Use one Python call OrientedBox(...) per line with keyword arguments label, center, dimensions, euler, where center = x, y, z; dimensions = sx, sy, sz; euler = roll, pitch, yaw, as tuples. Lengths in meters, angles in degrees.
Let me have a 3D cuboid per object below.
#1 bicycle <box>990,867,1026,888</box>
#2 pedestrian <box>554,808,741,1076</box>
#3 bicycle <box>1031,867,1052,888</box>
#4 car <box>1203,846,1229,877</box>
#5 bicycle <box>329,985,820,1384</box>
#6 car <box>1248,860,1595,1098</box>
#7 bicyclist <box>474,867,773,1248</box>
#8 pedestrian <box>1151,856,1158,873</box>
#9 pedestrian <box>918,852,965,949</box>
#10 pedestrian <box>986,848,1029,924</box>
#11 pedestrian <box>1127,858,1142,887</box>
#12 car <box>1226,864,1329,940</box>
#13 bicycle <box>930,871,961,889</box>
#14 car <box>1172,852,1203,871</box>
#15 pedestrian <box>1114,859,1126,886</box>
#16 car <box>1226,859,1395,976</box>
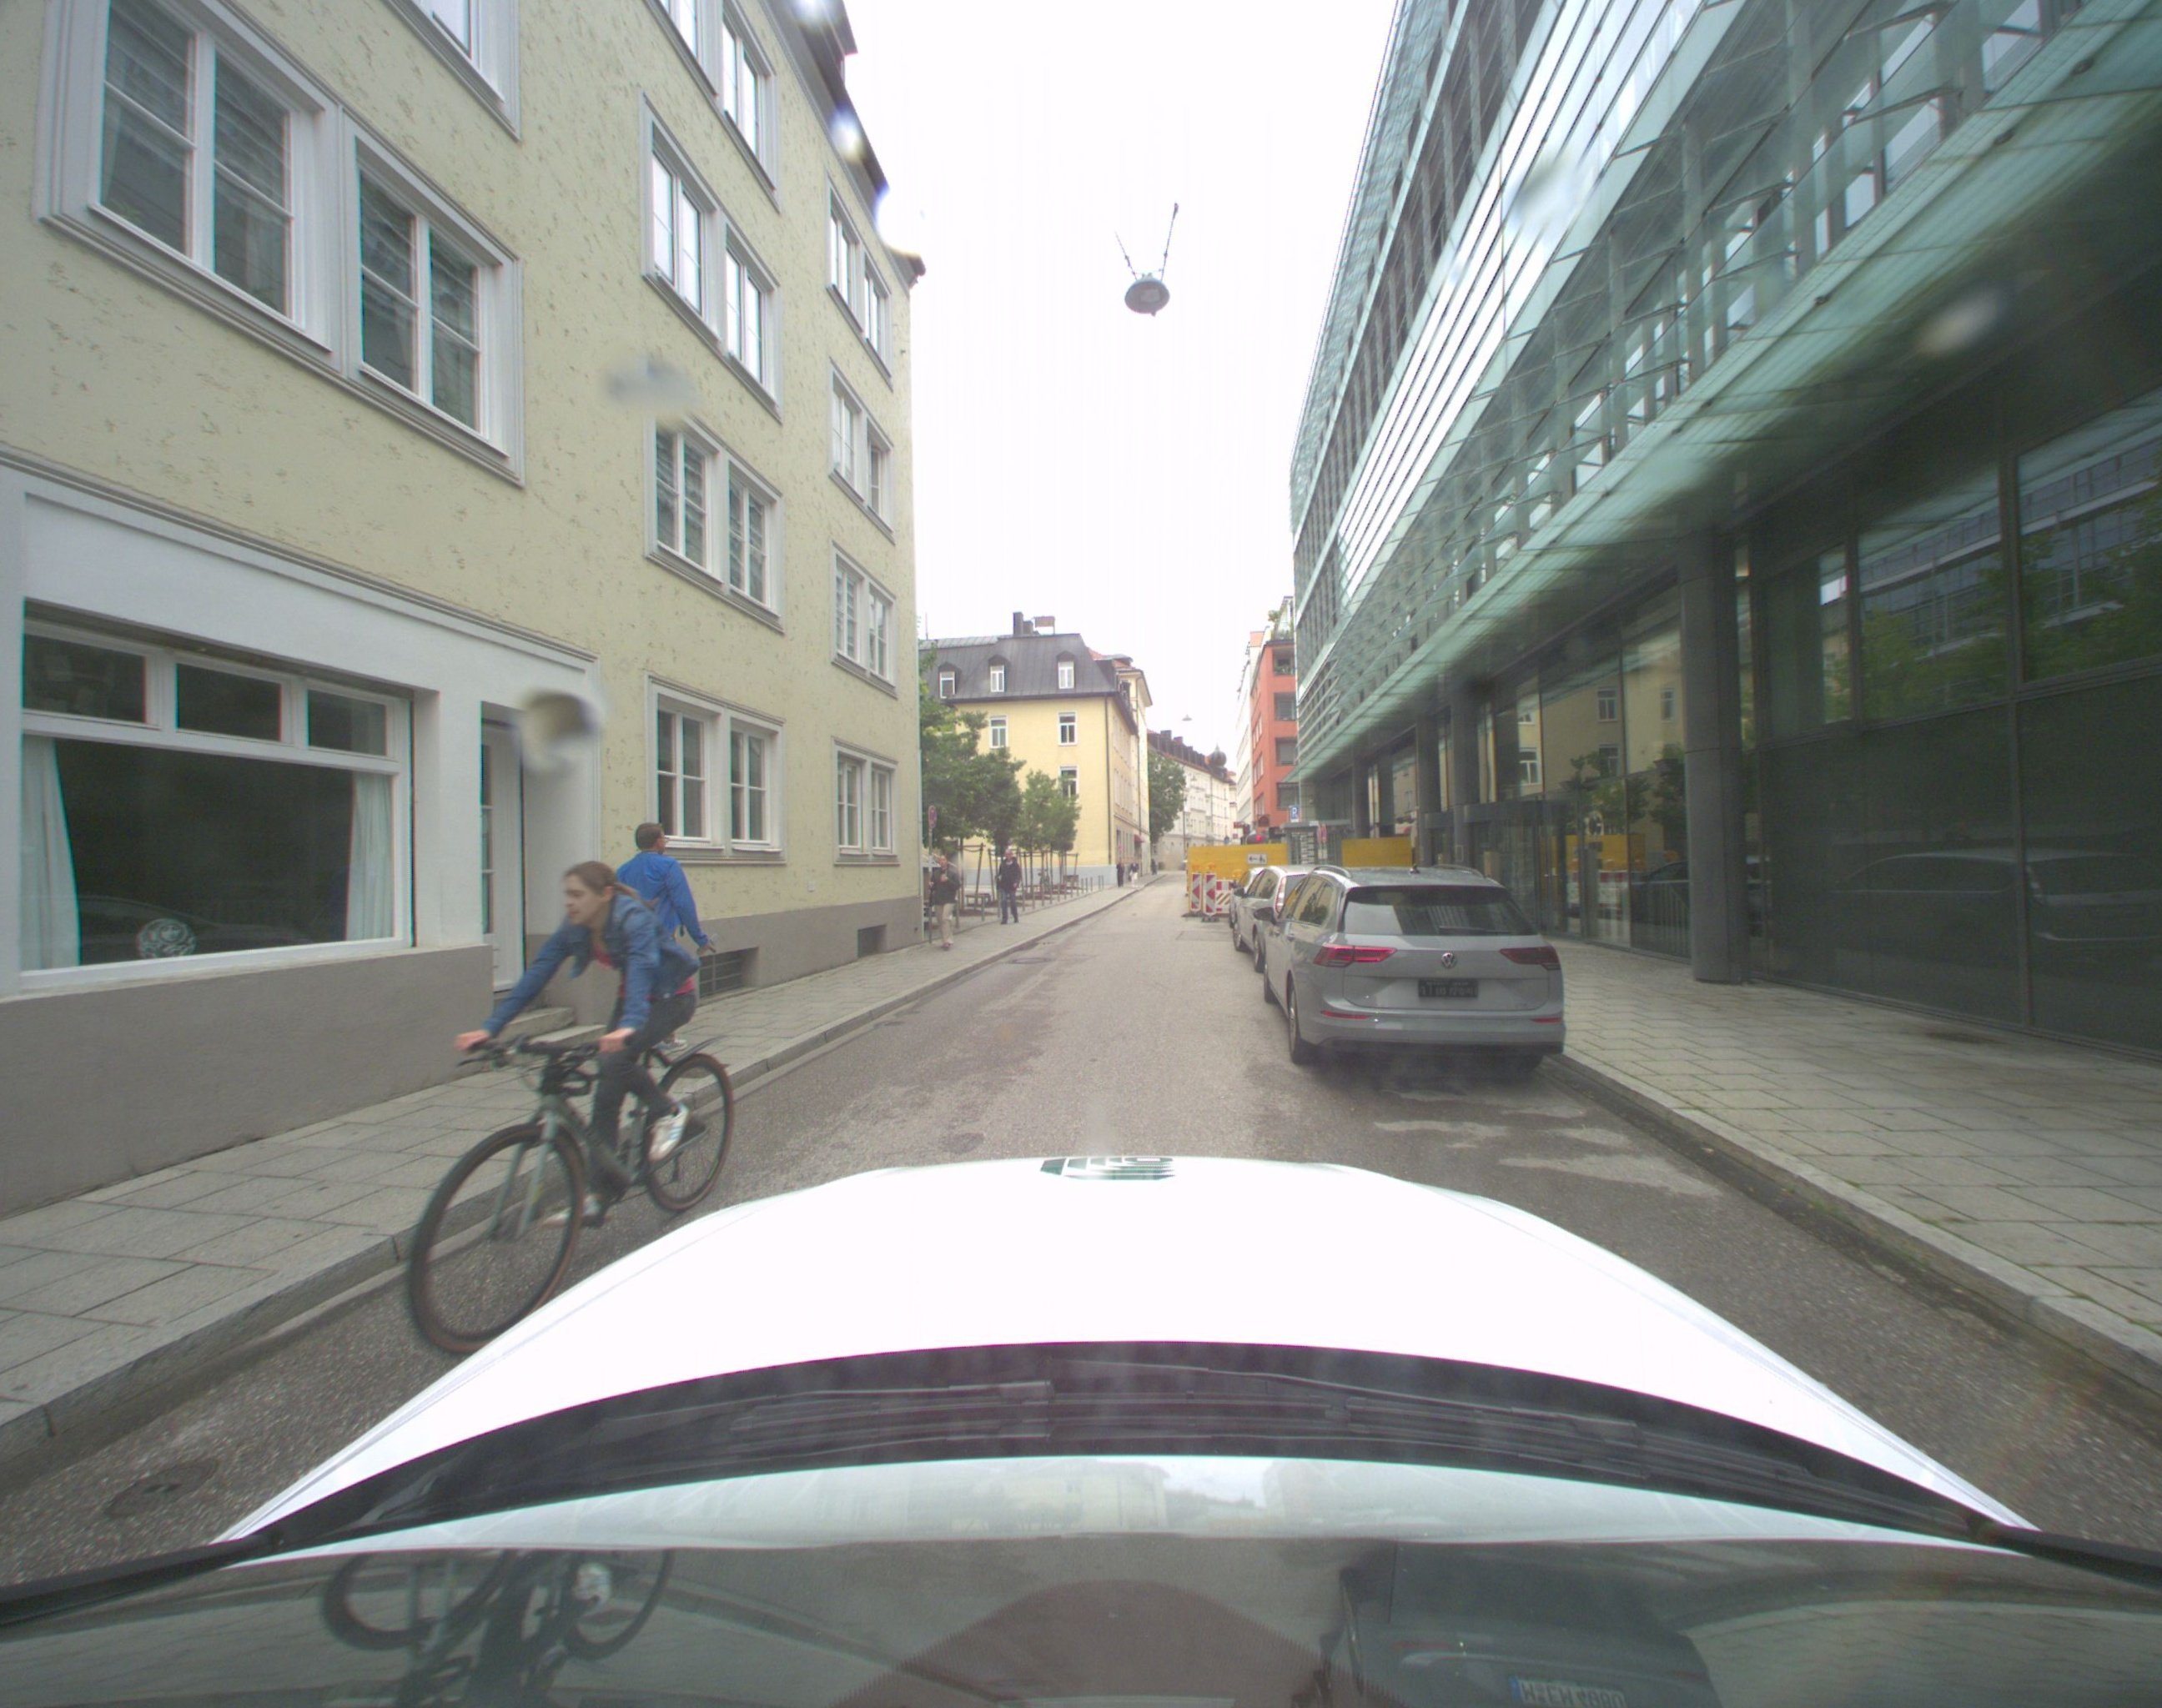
OrientedBox(label="bicycle", center=(-4.278, 1.394, 47.919), dimensions=(2.028, 1.198, 0.572), euler=(-1, -1, 14))
OrientedBox(label="pedestrian", center=(-3.263, 0.616, 6.238), dimensions=(0.752, 1.854, 1.079), euler=(0, -1, 8))
OrientedBox(label="bicycle", center=(-2.215, 1.287, 45.878), dimensions=(0.506, 1.144, 2.061), euler=(-1, -1, 16))
OrientedBox(label="car", center=(11.450, 0.608, 69.244), dimensions=(1.983, 2.537, 4.985), euler=(-1, -1, 7))
OrientedBox(label="bicycle", center=(-1.835, 1.136, 3.358), dimensions=(0.704, 0.905, 1.813), euler=(-2, -1, 8))
OrientedBox(label="car", center=(2.510, 0.798, 7.156), dimensions=(1.699, 1.432, 4.338), euler=(-1, -1, 7))
OrientedBox(label="bicyclist", center=(-1.844, 0.754, 3.396), dimensions=(0.704, 1.371, 0.815), euler=(-2, -1, 7))
OrientedBox(label="pedestrian", center=(7.405, 1.026, 82.341), dimensions=(0.631, 1.675, 0.519), euler=(-1, -1, 7))
OrientedBox(label="pedestrian", center=(-2.486, 0.819, 14.575), dimensions=(0.643, 1.676, 0.725), euler=(-1, -1, 7))
OrientedBox(label="pedestrian", center=(-1.848, 0.802, 20.649), dimensions=(0.863, 1.881, 1.137), euler=(-1, -1, 7))
OrientedBox(label="pedestrian", center=(3.216, 1.120, 49.044), dimensions=(0.835, 1.700, 0.804), euler=(-1, -1, 7))
OrientedBox(label="car", center=(4.084, 0.937, 17.515), dimensions=(1.698, 1.414, 4.519), euler=(0, -1, 8))
OrientedBox(label="bicycle", center=(-8.011, 1.541, 48.121), dimensions=(1.645, 1.069, 0.599), euler=(-1, -1, 11))
OrientedBox(label="car", center=(13.655, 0.932, 104.412), dimensions=(1.974, 2.398, 5.025), euler=(-1, -1, 33))
OrientedBox(label="pedestrian", center=(2.386, 1.130, 49.393), dimensions=(0.666, 1.648, 0.763), euler=(-1, -1, 7))
OrientedBox(label="car", center=(3.268, 0.834, 12.408), dimensions=(1.699, 1.467, 4.242), euler=(0, -1, 5))
